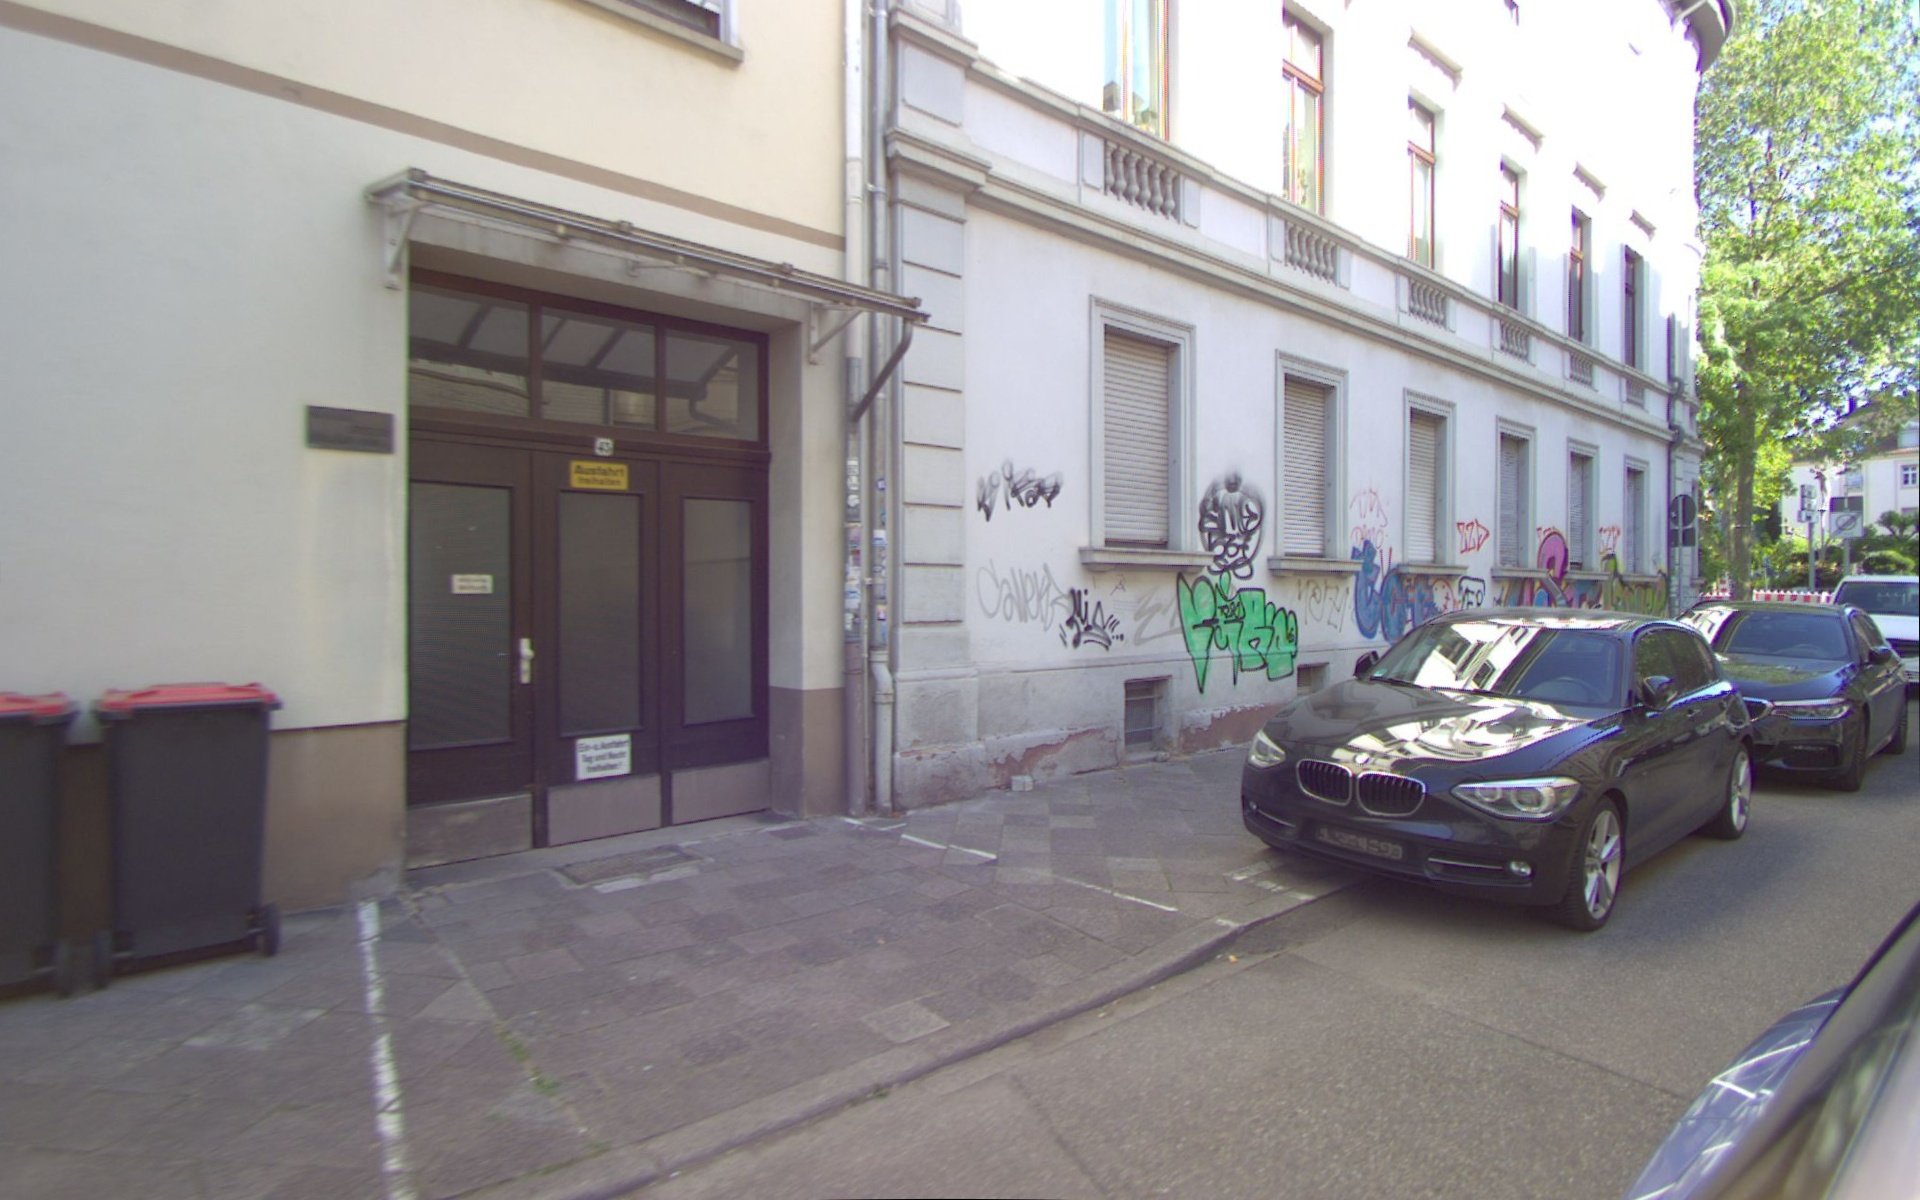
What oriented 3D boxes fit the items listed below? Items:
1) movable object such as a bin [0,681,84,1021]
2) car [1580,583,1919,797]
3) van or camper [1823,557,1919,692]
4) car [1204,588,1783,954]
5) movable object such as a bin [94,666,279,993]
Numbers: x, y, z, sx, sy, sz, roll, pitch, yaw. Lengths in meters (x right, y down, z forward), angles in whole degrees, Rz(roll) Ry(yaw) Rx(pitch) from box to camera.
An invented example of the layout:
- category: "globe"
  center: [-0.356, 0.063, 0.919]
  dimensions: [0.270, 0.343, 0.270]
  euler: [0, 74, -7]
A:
- category: "movable object such as a bin"
  center: [-3.483, 0.870, 3.577]
  dimensions: [0.542, 1.084, 0.579]
  euler: [0, 1, -38]
- category: "car"
  center: [7.678, 0.672, 9.515]
  dimensions: [4.645, 1.539, 1.817]
  euler: [0, -2, -41]
- category: "van or camper"
  center: [16.171, 0.363, 17.067]
  dimensions: [4.945, 2.039, 1.896]
  euler: [0, 0, -43]
- category: "car"
  center: [3.317, 0.710, 5.992]
  dimensions: [3.802, 1.467, 1.749]
  euler: [0, -2, -41]
- category: "movable object such as a bin"
  center: [-3.008, 0.835, 3.959]
  dimensions: [0.542, 1.084, 0.579]
  euler: [0, 1, -38]
